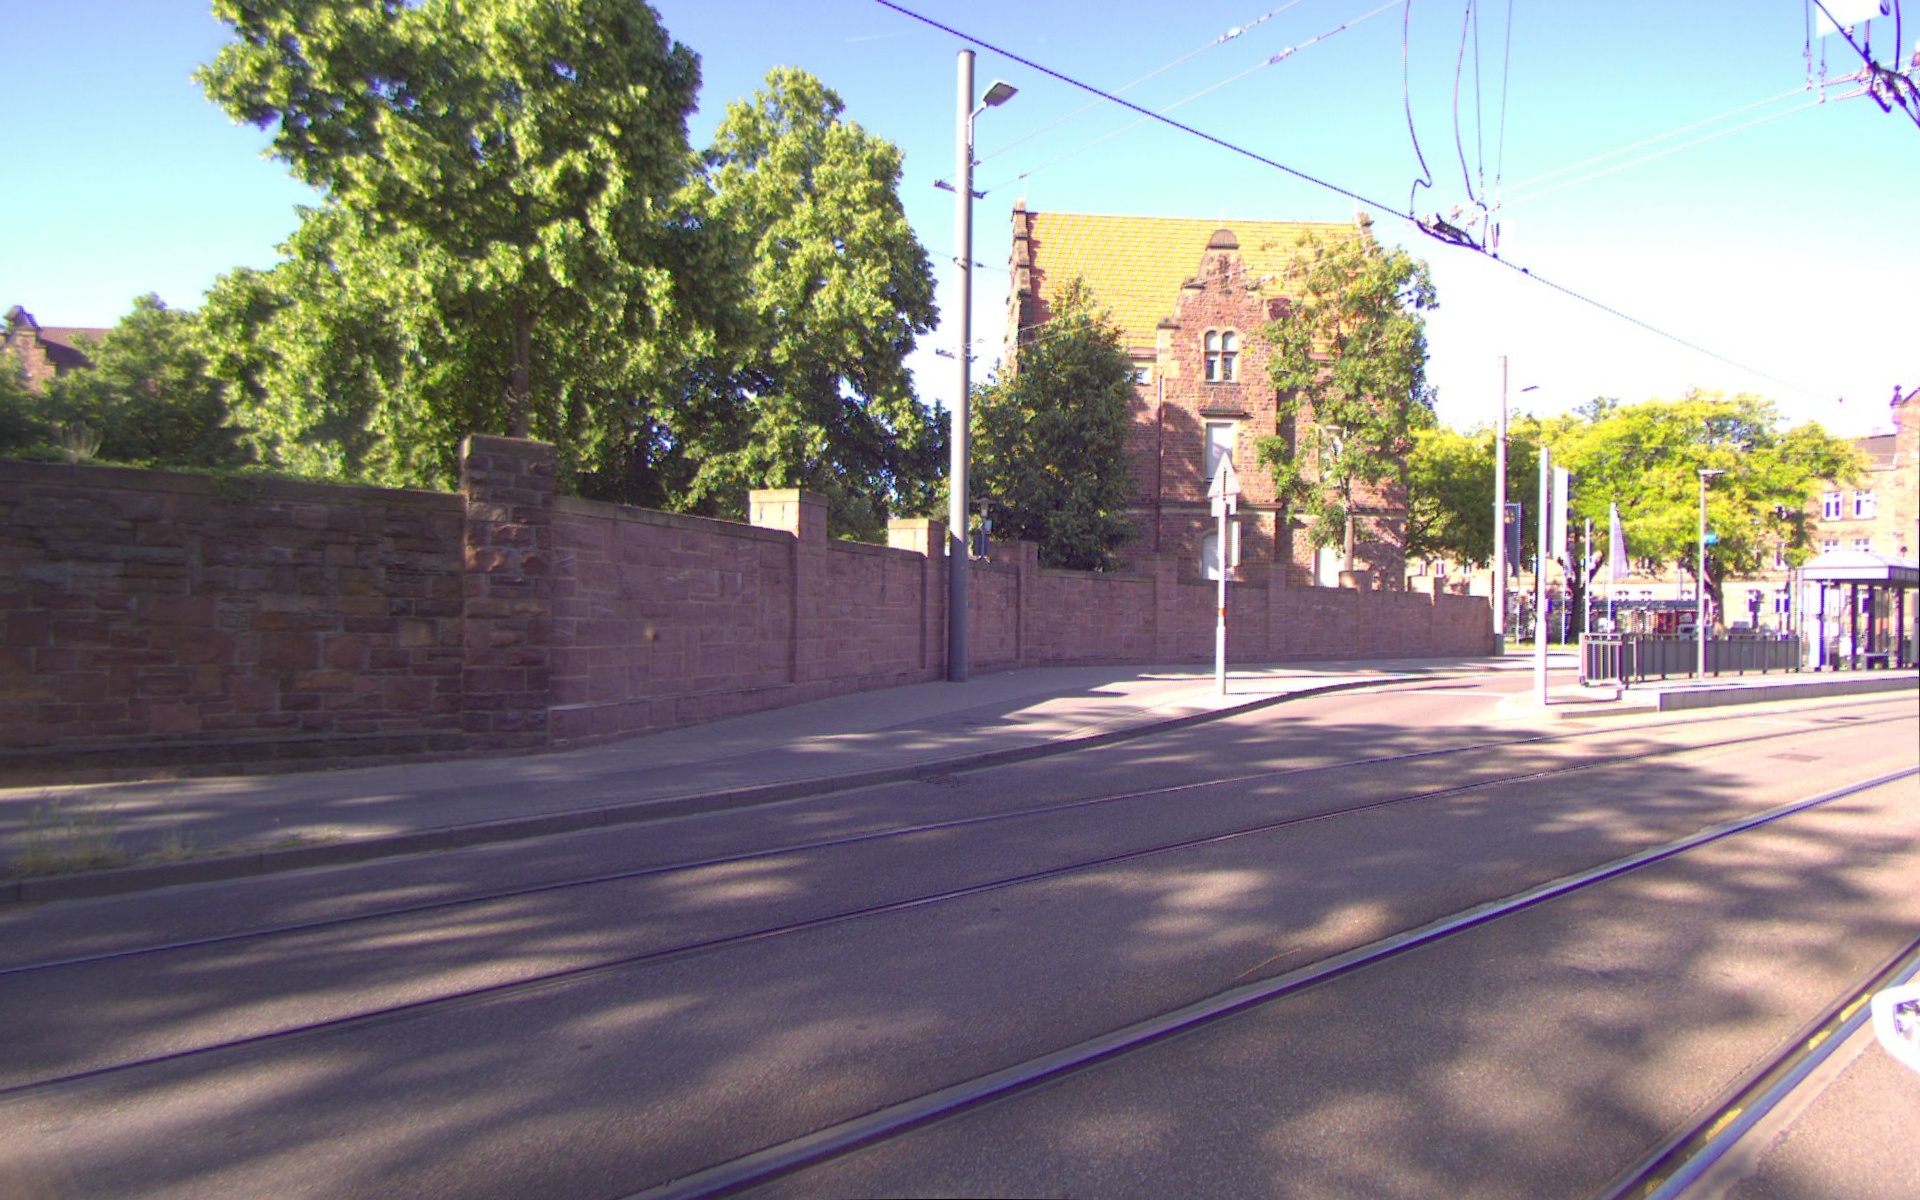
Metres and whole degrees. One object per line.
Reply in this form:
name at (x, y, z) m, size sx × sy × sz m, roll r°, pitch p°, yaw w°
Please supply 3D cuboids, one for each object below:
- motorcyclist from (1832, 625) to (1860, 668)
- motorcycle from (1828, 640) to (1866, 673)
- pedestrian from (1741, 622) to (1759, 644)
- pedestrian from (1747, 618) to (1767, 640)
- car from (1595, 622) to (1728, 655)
motorcyclist at (34.010, 1.774, 38.553) m, size 0.836 × 1.643 × 0.609 m, roll 1°, pitch 0°, yaw -34°
motorcycle at (34.124, 2.168, 38.633) m, size 2.054 × 1.214 × 0.607 m, roll 1°, pitch -1°, yaw -35°
pedestrian at (59.242, 2.446, 75.287) m, size 0.799 × 1.610 × 0.923 m, roll 0°, pitch 1°, yaw -43°
pedestrian at (59.723, 2.156, 75.260) m, size 0.796 × 1.609 × 0.926 m, roll 1°, pitch 0°, yaw -34°
car at (47.925, 2.593, 68.801) m, size 2.957 × 1.946 × 6.915 m, roll 1°, pitch -1°, yaw -30°
